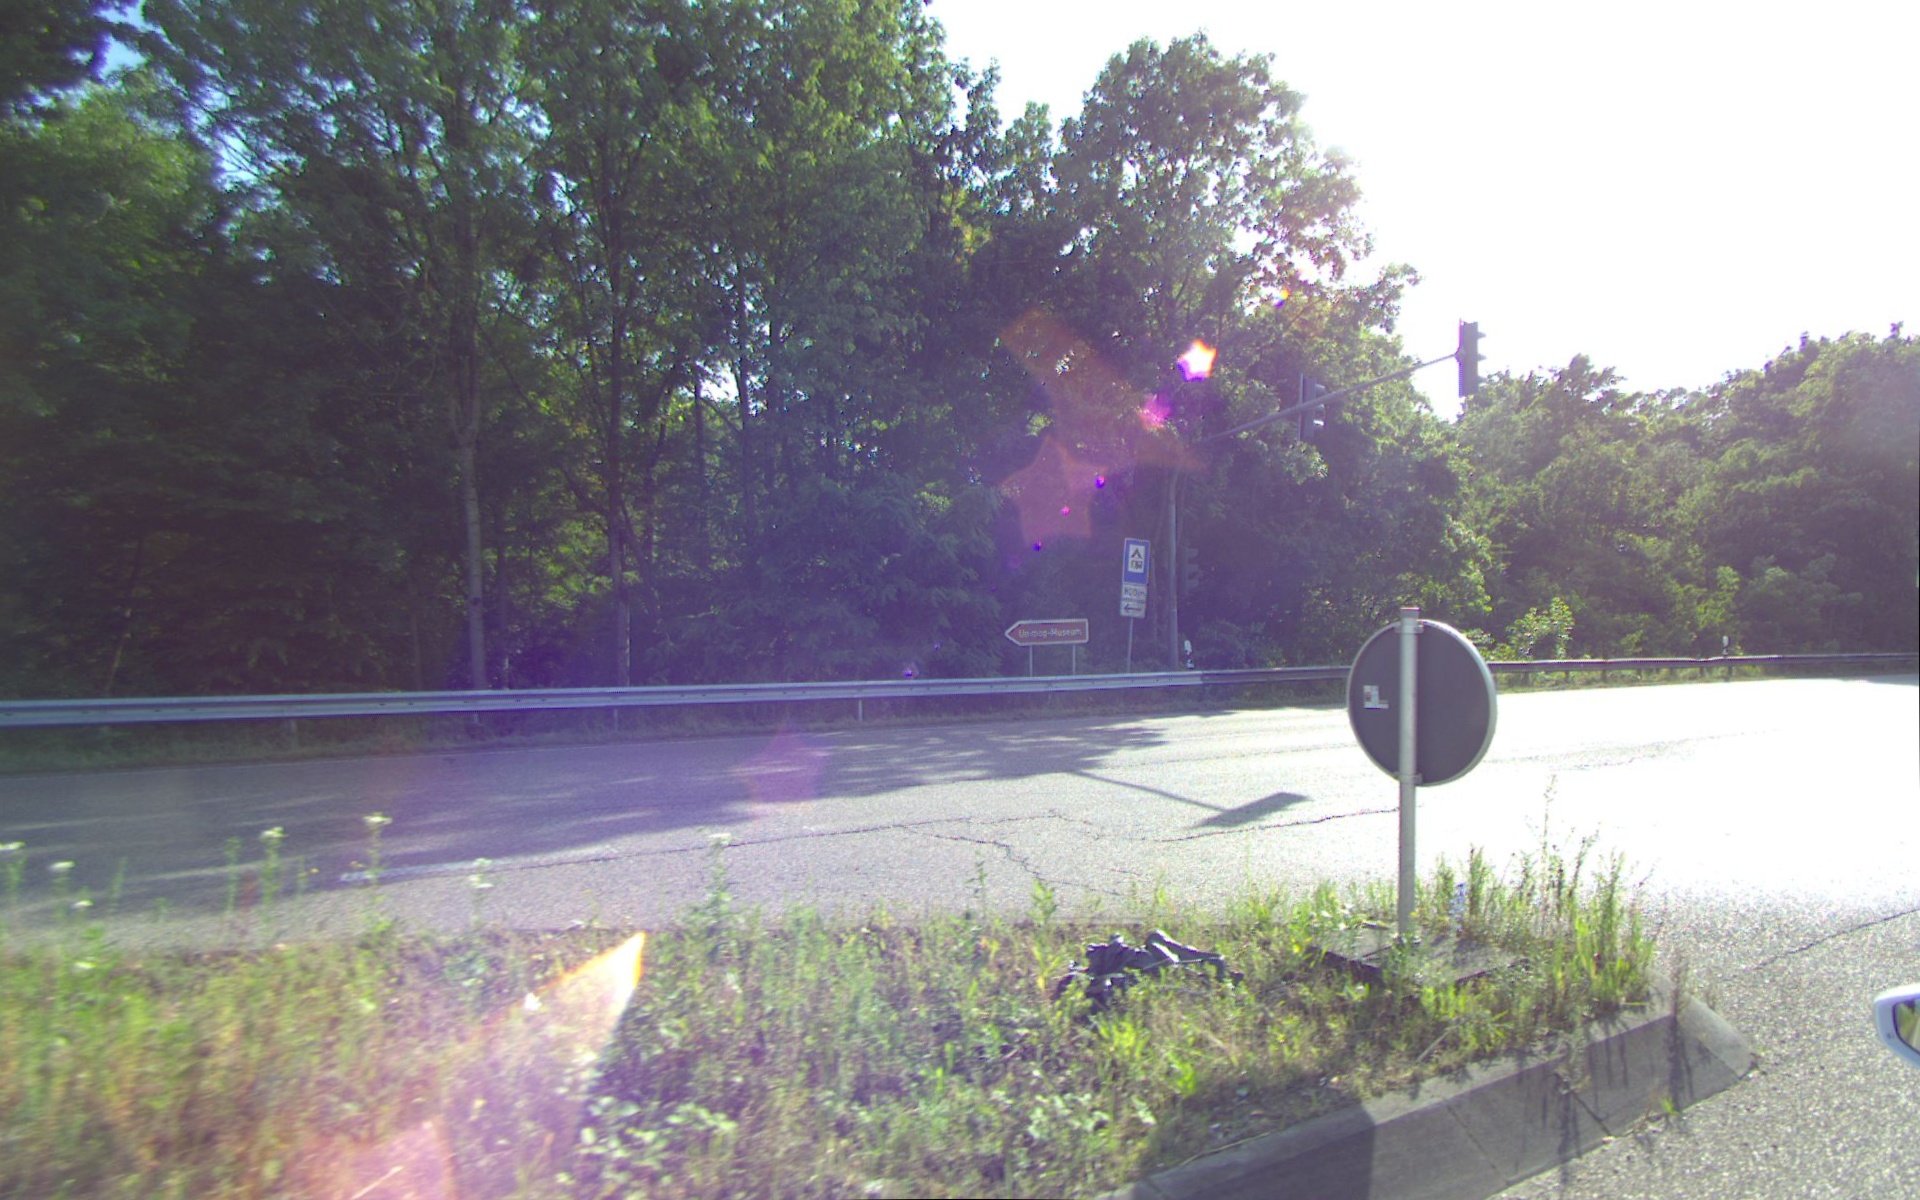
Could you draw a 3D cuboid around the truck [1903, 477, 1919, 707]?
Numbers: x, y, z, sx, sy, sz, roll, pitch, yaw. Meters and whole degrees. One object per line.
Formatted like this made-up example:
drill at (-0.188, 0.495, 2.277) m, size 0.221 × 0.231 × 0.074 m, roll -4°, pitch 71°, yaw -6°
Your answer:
truck at (20.322, -0.100, 18.420) m, size 6.647 × 4.050 × 2.875 m, roll 1°, pitch 0°, yaw -32°
